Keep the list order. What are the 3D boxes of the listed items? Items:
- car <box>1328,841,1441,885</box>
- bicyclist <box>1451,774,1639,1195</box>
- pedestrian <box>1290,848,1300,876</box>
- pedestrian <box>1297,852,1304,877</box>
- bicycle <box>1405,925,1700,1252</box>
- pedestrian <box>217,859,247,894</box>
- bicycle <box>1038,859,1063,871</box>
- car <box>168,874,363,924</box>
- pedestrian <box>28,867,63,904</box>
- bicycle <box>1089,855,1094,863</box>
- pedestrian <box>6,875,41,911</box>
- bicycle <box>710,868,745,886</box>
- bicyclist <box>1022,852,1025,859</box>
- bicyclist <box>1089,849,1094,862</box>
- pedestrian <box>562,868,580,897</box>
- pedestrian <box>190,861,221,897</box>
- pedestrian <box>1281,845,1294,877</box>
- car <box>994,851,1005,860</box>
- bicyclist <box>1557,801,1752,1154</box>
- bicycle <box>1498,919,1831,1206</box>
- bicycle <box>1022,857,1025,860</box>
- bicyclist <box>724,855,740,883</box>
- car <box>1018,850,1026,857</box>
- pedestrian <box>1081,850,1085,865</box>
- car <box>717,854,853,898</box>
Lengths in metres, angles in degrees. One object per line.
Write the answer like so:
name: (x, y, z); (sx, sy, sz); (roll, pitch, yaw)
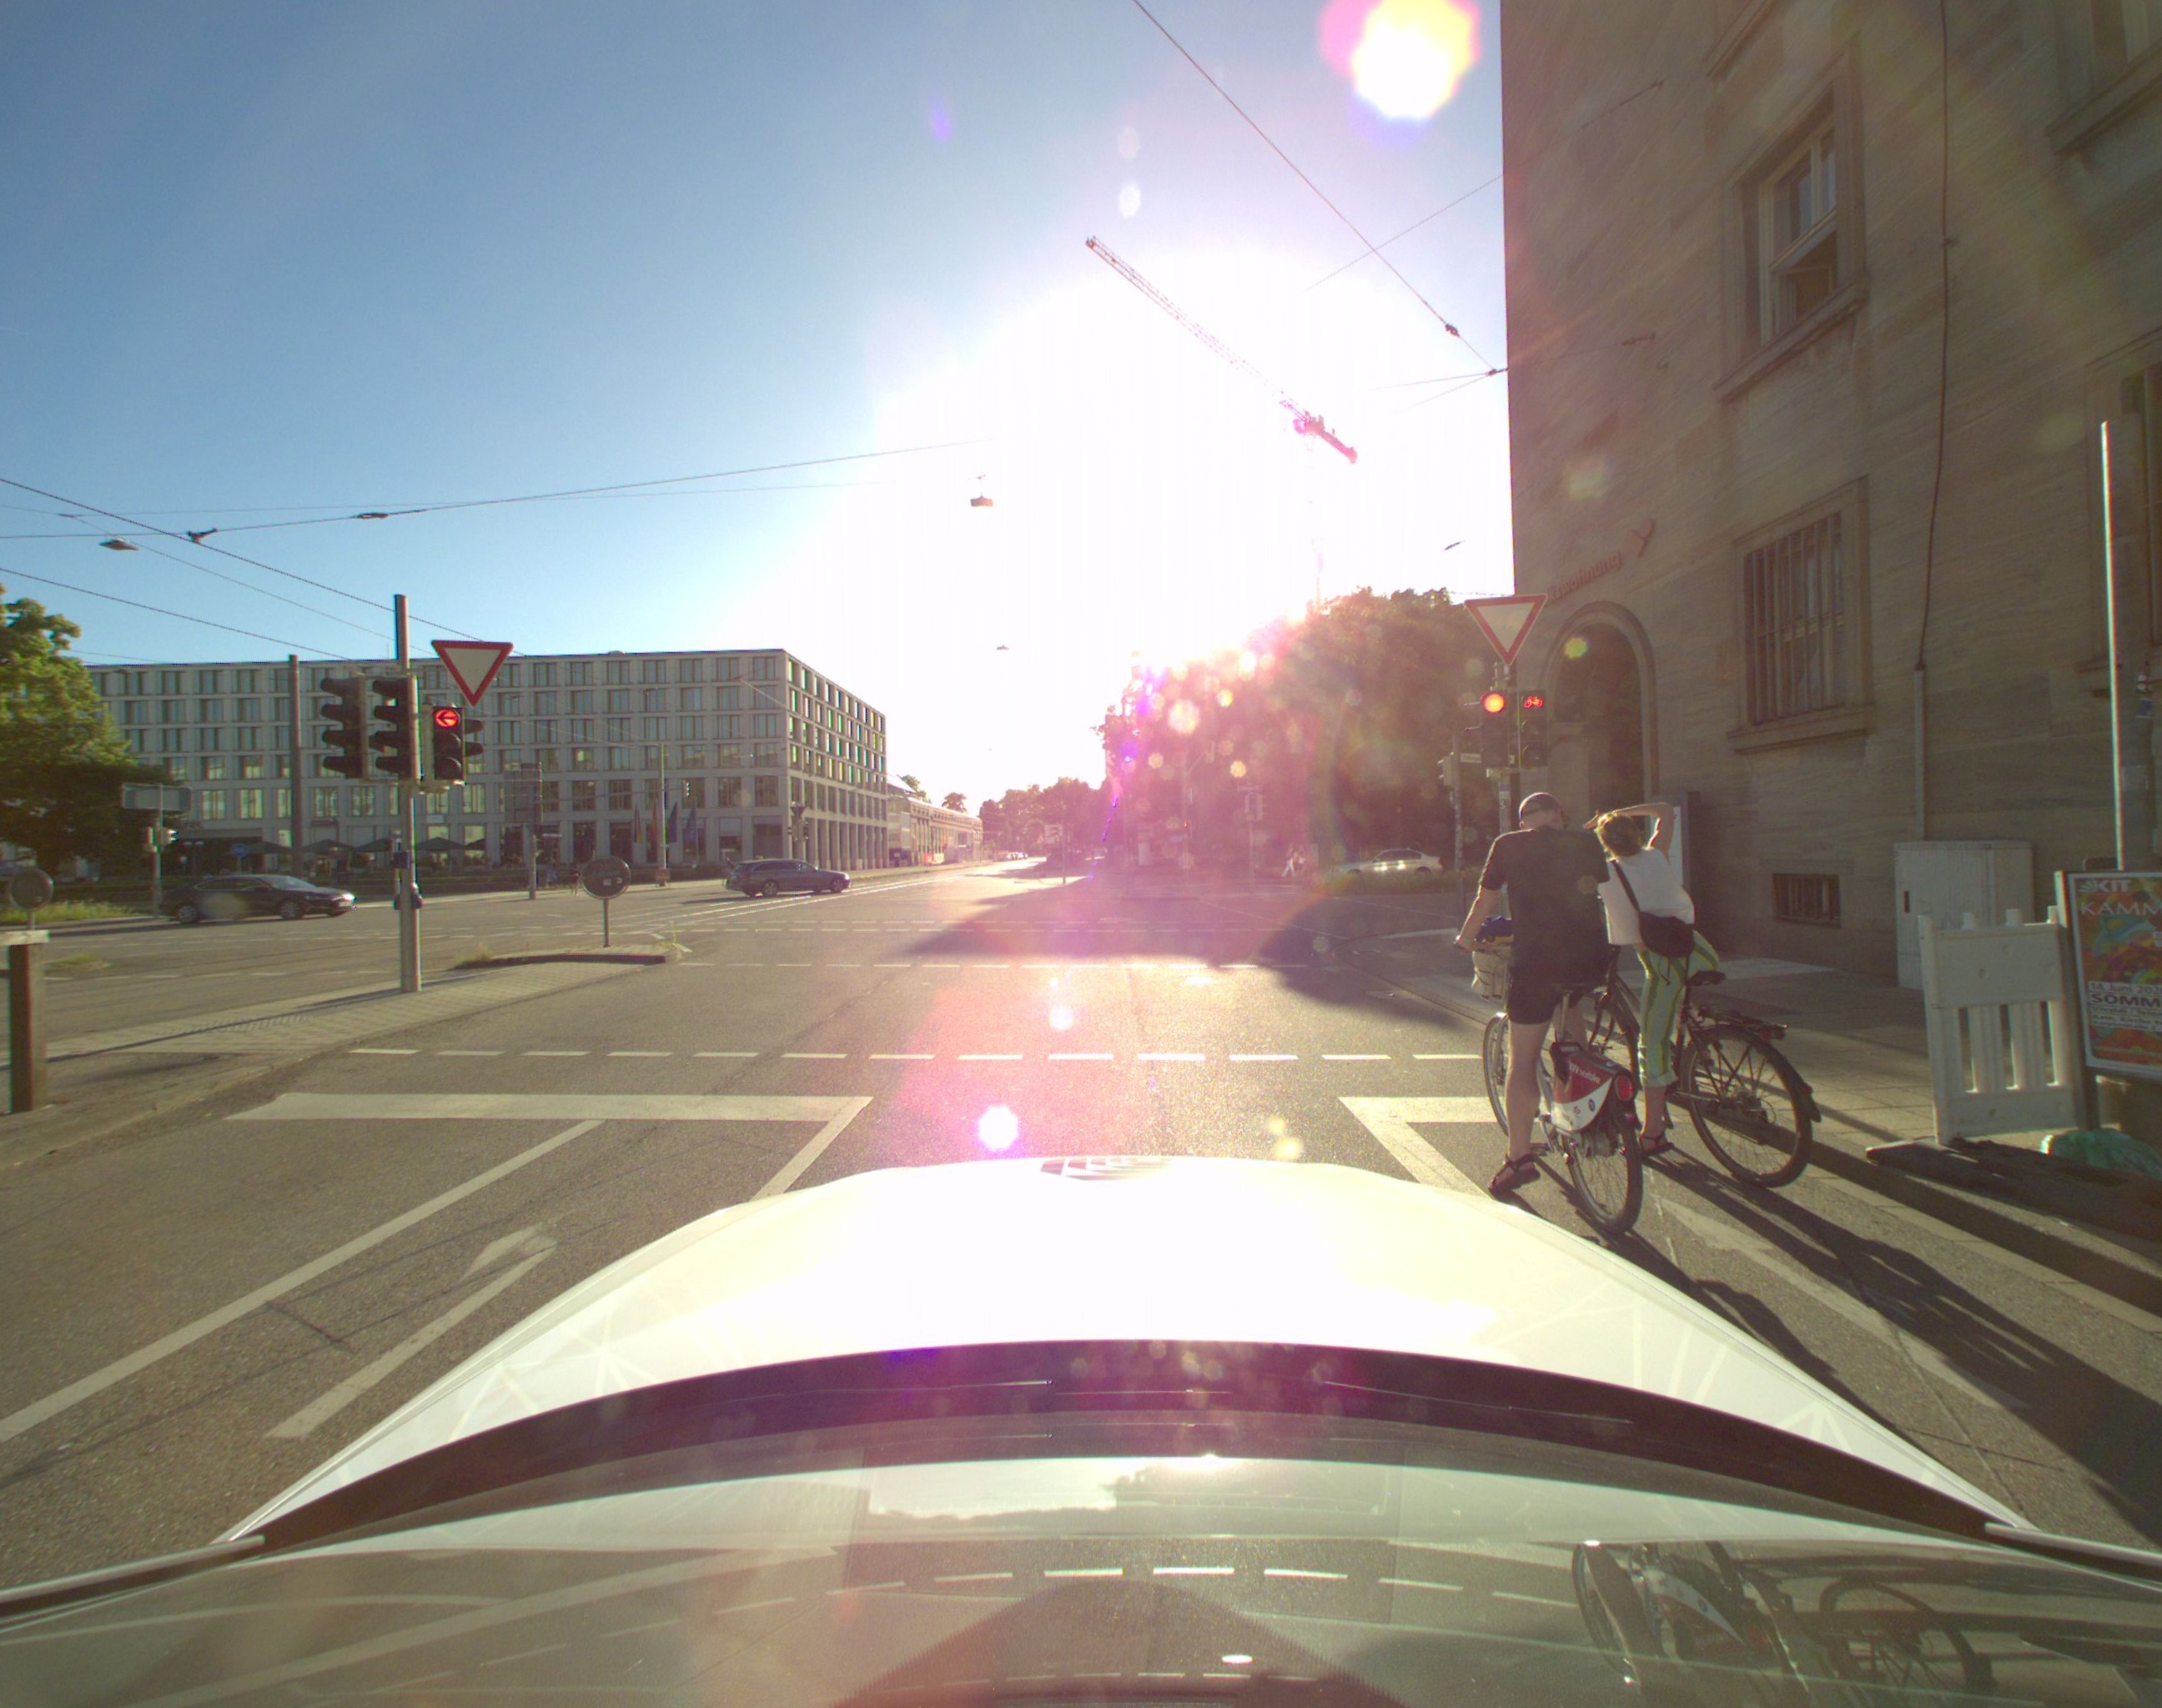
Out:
car: (12.345, 0.353, 33.250); (3.979, 1.611, 1.650); (-2, 0, 1)
bicyclist: (2.117, 0.561, 3.775); (0.556, 1.799, 0.551); (-1, 0, 3)
pedestrian: (11.668, 0.432, 44.387); (0.437, 1.503, 0.437); (-2, 0, 3)
pedestrian: (11.695, 0.537, 43.374); (0.316, 1.316, 0.345); (0, 1, 4)
bicycle: (2.115, 0.958, 3.932); (0.513, 1.077, 1.729); (-1, 0, 4)
pedestrian: (-46.955, 1.219, 45.040); (0.711, 1.900, 0.877); (-1, -1, 9)
bicycle: (-2.569, 0.906, 67.700); (1.996, 0.891, 0.655); (-4, -1, 29)
car: (-25.844, 1.397, 25.918); (4.405, 1.455, 1.664); (-1, 0, -2)
pedestrian: (-57.428, 1.719, 45.165); (0.840, 2.014, 0.824); (0, -1, -3)
bicycle: (1.434, 0.661, 108.298); (0.573, 1.077, 1.831); (-2, 0, 1)
pedestrian: (-57.352, 2.100, 44.183); (0.714, 1.900, 0.874); (0, -1, -3)
bicycle: (-20.629, 1.326, 47.558); (1.865, 0.935, 0.757); (-2, 0, -23)
bicyclist: (-11.412, 0.348, 160.806); (0.594, 1.377, 0.637); (0, -1, 0)
bicyclist: (1.423, 0.161, 108.311); (0.567, 1.691, 0.700); (-2, 0, 1)
pedestrian: (-28.708, 1.622, 45.852); (0.589, 1.589, 0.775); (-2, 0, -8)
pedestrian: (-49.262, 1.417, 45.821); (0.837, 2.014, 0.827); (-1, -1, 11)
pedestrian: (11.156, 0.371, 43.948); (0.580, 1.663, 0.515); (0, 1, 4)
car: (-15.654, 0.264, 157.070); (1.688, 1.718, 4.245); (0, -1, -1)
bicyclist: (2.948, 0.592, 4.241); (0.556, 1.691, 0.640); (-1, 0, 0)
bicycle: (2.937, 0.959, 4.348); (0.532, 1.077, 1.751); (-1, 0, 1)
bicycle: (-11.408, 0.916, 160.789); (0.499, 0.515, 1.258); (0, -1, 1)
bicyclist: (-20.376, 0.887, 47.616); (0.778, 1.589, 0.756); (-2, 0, -20)
car: (-14.220, -0.118, 195.320); (1.688, 1.718, 4.245); (0, -1, -1)
pedestrian: (0.215, 0.378, 98.445); (0.462, 1.813, 0.502); (-2, 0, -3)
car: (-11.994, 0.841, 33.230); (4.836, 1.565, 1.875); (-2, 0, -45)
